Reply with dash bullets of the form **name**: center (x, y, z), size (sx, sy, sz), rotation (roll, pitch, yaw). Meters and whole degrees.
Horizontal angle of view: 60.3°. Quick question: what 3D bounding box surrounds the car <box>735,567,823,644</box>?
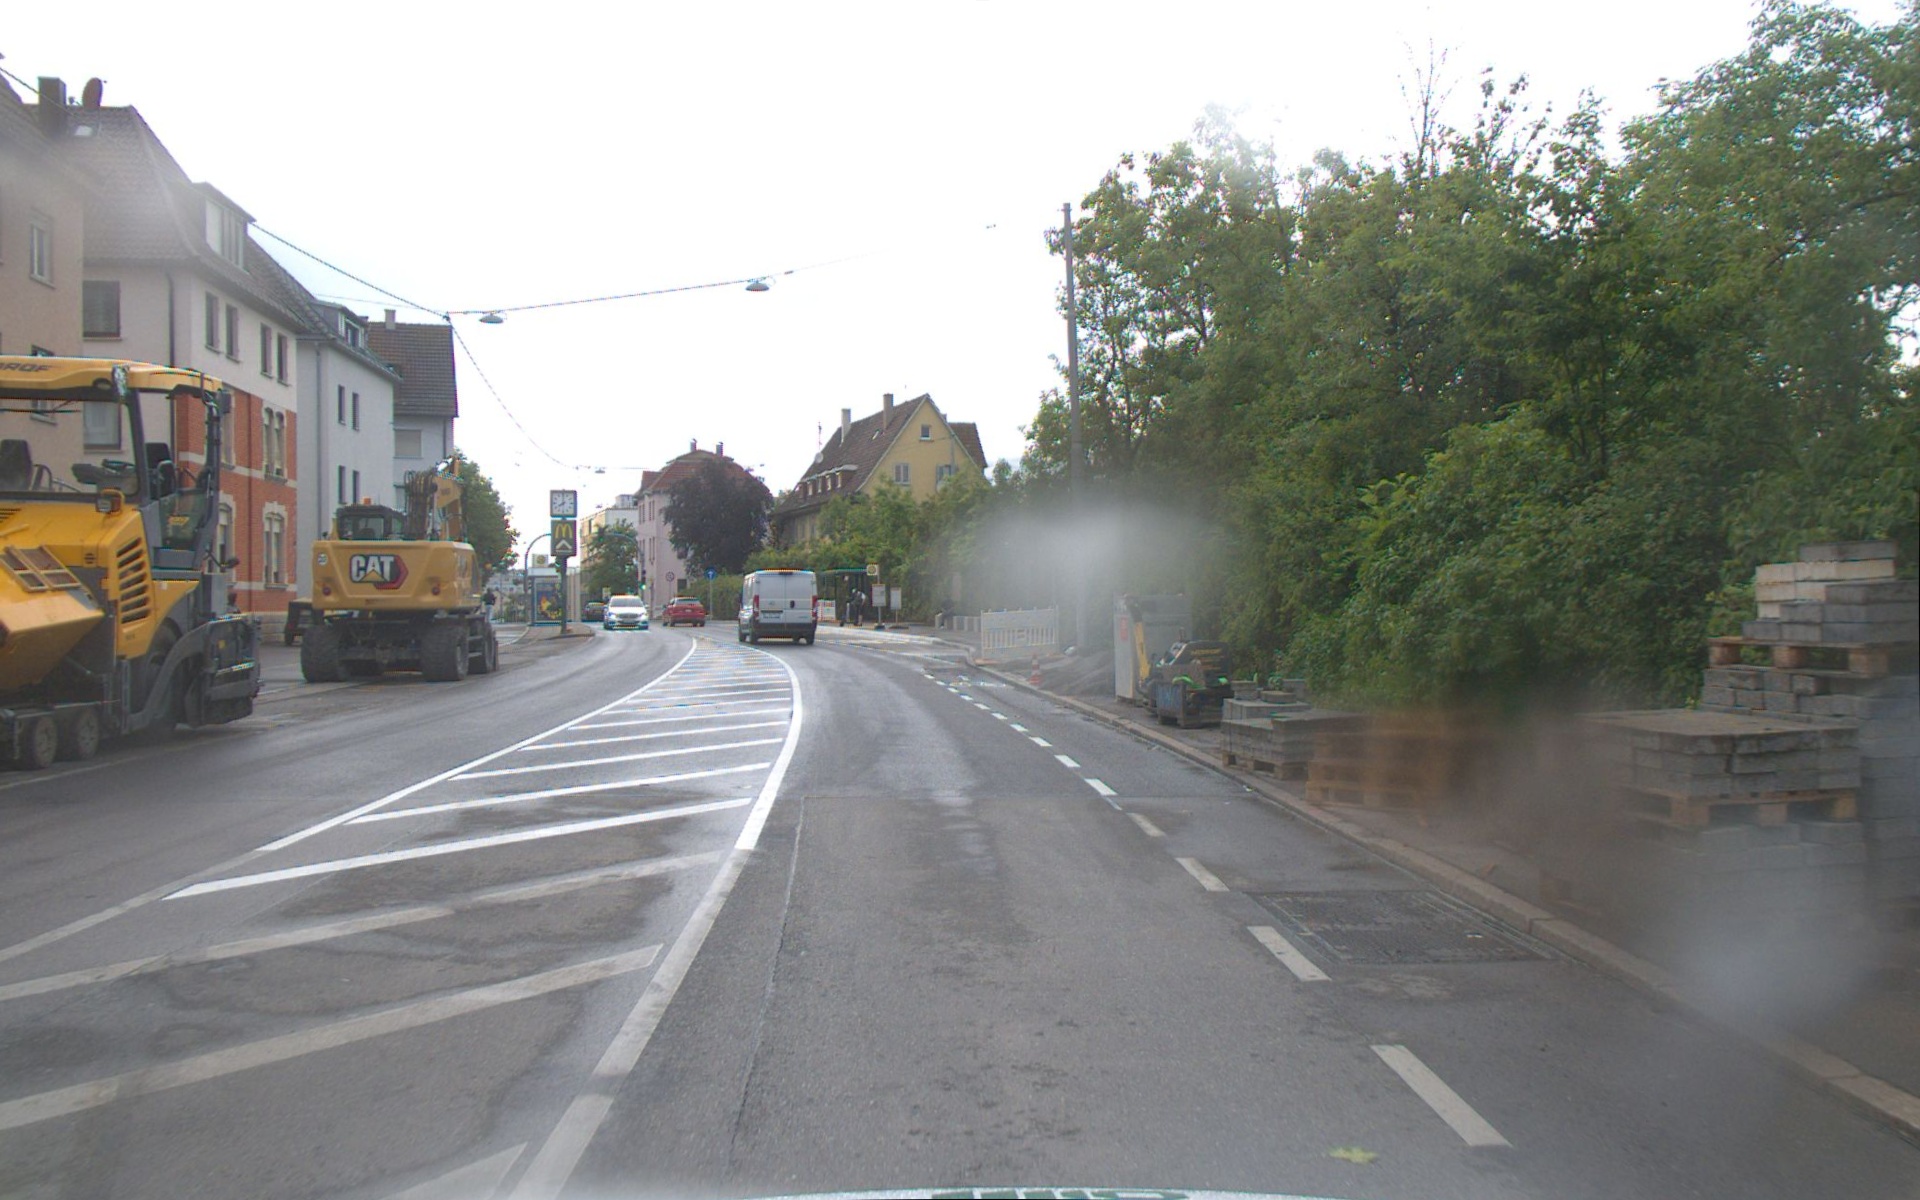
- **car**: center (-5.809, 0.133, 52.649), size (2.199, 2.251, 4.698), rotation (1, 2, -13)

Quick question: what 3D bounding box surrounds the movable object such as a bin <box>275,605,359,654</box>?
- **movable object such as a bin**: center (-19.278, 0.892, 49.708), size (1.525, 1.378, 3.991), rotation (1, -1, -9)

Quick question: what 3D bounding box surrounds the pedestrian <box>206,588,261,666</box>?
- **pedestrian**: center (-15.466, 0.563, 35.227), size (0.749, 1.616, 1.090), rotation (1, 2, -5)

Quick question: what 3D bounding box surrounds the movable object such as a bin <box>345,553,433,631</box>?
- **movable object such as a bin**: center (-21.076, -0.343, 61.205), size (1.954, 2.729, 4.624), rotation (1, 2, -5)

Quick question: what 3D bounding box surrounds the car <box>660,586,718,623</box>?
- **car**: center (-13.690, 0.190, 83.368), size (2.203, 1.685, 4.690), rotation (0, 2, -18)

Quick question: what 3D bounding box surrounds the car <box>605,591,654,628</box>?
- **car**: center (-14.985, 0.449, 74.845), size (1.897, 1.583, 4.601), rotation (1, -1, -15)

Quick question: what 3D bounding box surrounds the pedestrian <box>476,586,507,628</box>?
- **pedestrian**: center (-23.392, 0.332, 82.604), size (1.199, 2.048, 1.037), rotation (0, 2, -39)

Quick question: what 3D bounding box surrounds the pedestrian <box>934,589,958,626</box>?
- **pedestrian**: center (-0.550, 0.282, 64.069), size (0.861, 1.391, 1.065), rotation (1, 2, -4)

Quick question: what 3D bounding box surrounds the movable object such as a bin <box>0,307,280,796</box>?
- **movable object such as a bin**: center (-9.171, -0.499, 16.180), size (2.718, 3.922, 5.986), rotation (1, 2, -2)

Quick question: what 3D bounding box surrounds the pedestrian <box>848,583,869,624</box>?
- **pedestrian**: center (-4.427, 0.146, 72.310), size (0.888, 1.761, 0.653), rotation (1, 1, -4)

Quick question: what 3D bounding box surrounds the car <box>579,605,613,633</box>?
- **car**: center (-27.064, 1.407, 122.843), size (2.201, 1.835, 4.693), rotation (1, 2, -16)

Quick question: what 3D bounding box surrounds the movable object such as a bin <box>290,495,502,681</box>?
- **movable object such as a bin**: center (-10.461, -0.153, 31.126), size (2.816, 3.229, 4.120), rotation (1, -2, -6)
